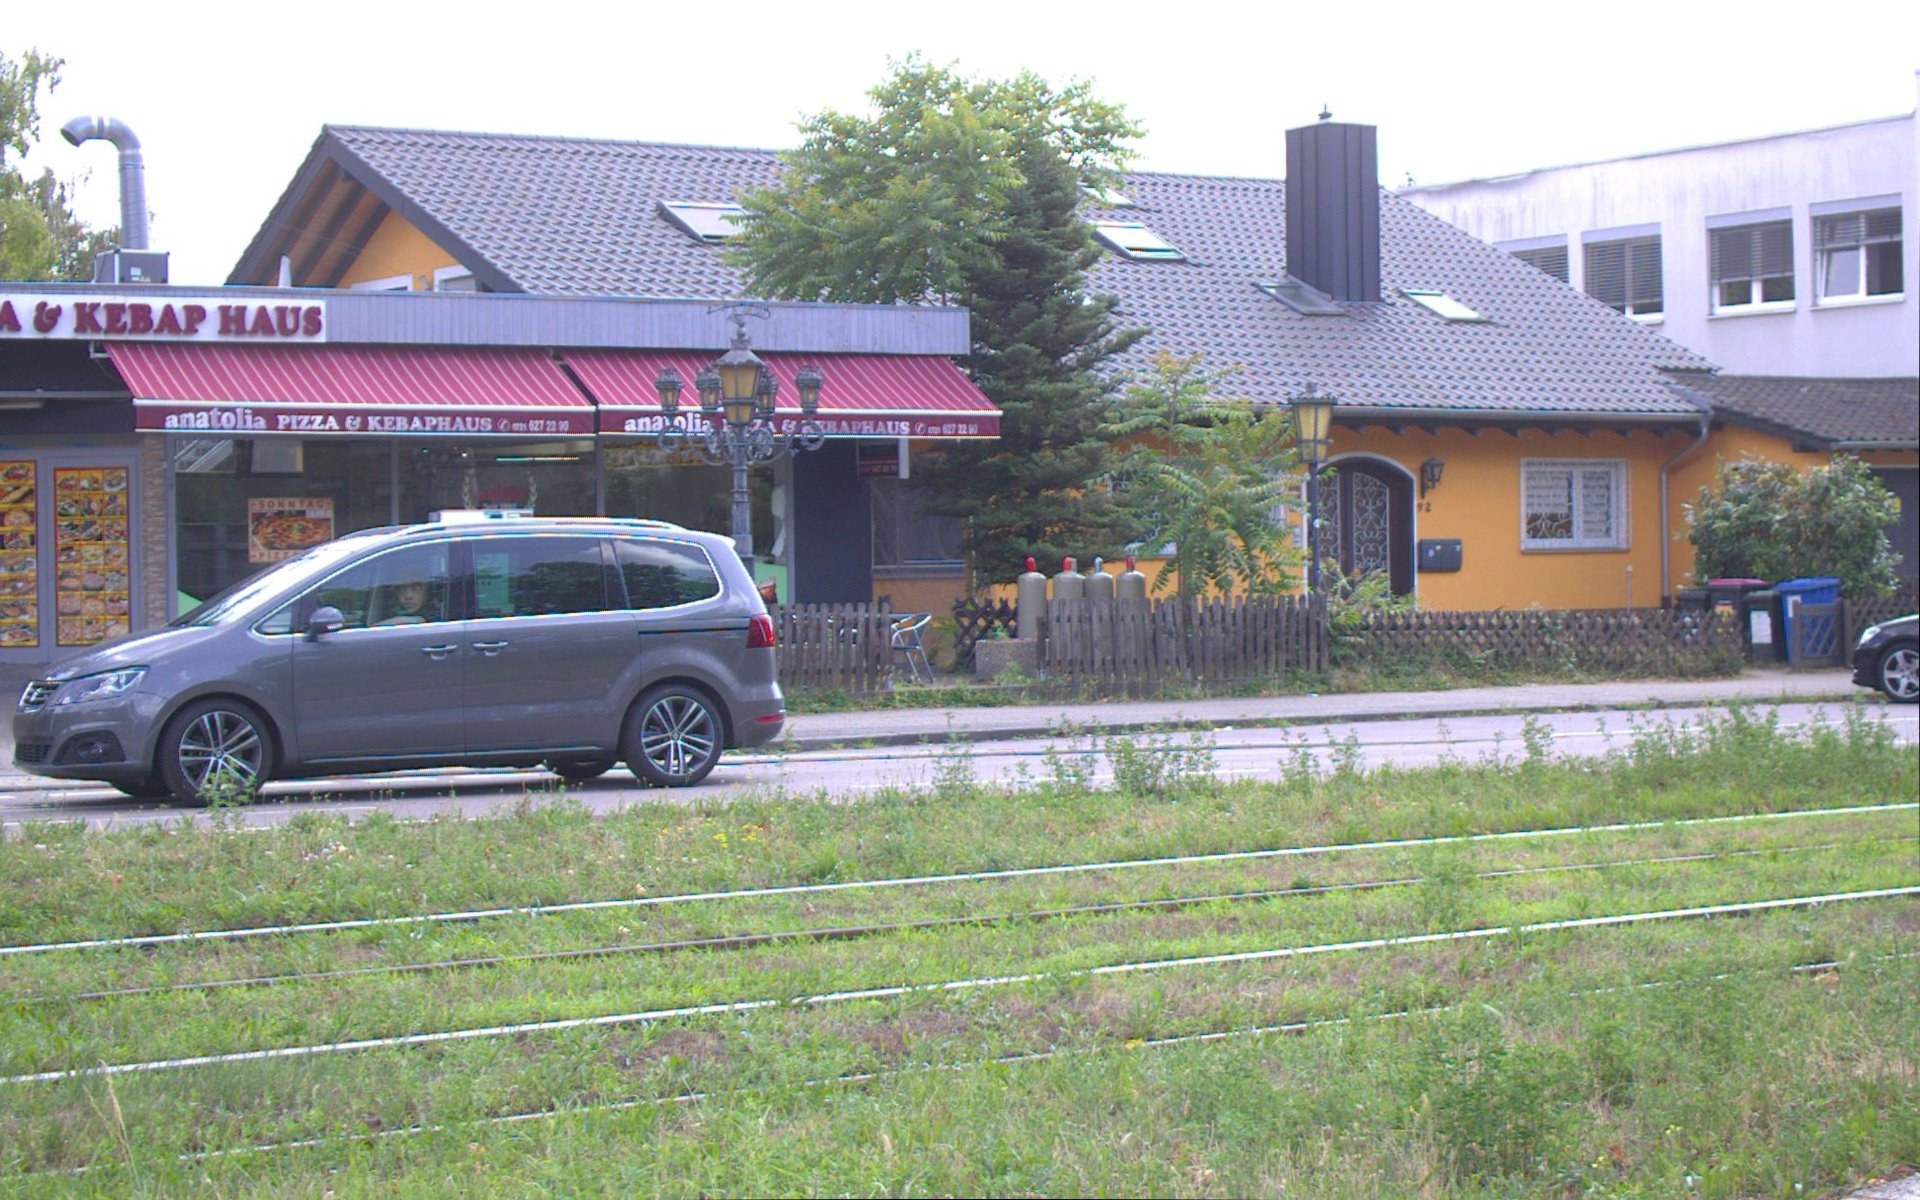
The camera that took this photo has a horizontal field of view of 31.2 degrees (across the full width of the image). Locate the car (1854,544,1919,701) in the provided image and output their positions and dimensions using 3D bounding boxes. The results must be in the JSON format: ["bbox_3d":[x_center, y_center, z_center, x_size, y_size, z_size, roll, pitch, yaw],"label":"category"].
[{"bbox_3d":[11.529,0.182,34.378,4.574,1.575,1.996,-1,0,38],"label":"car"}]

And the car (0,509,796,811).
[{"bbox_3d":[-3.609,0.306,21.726,4.724,1.716,2.000,-1,1,-27],"label":"car"}]
